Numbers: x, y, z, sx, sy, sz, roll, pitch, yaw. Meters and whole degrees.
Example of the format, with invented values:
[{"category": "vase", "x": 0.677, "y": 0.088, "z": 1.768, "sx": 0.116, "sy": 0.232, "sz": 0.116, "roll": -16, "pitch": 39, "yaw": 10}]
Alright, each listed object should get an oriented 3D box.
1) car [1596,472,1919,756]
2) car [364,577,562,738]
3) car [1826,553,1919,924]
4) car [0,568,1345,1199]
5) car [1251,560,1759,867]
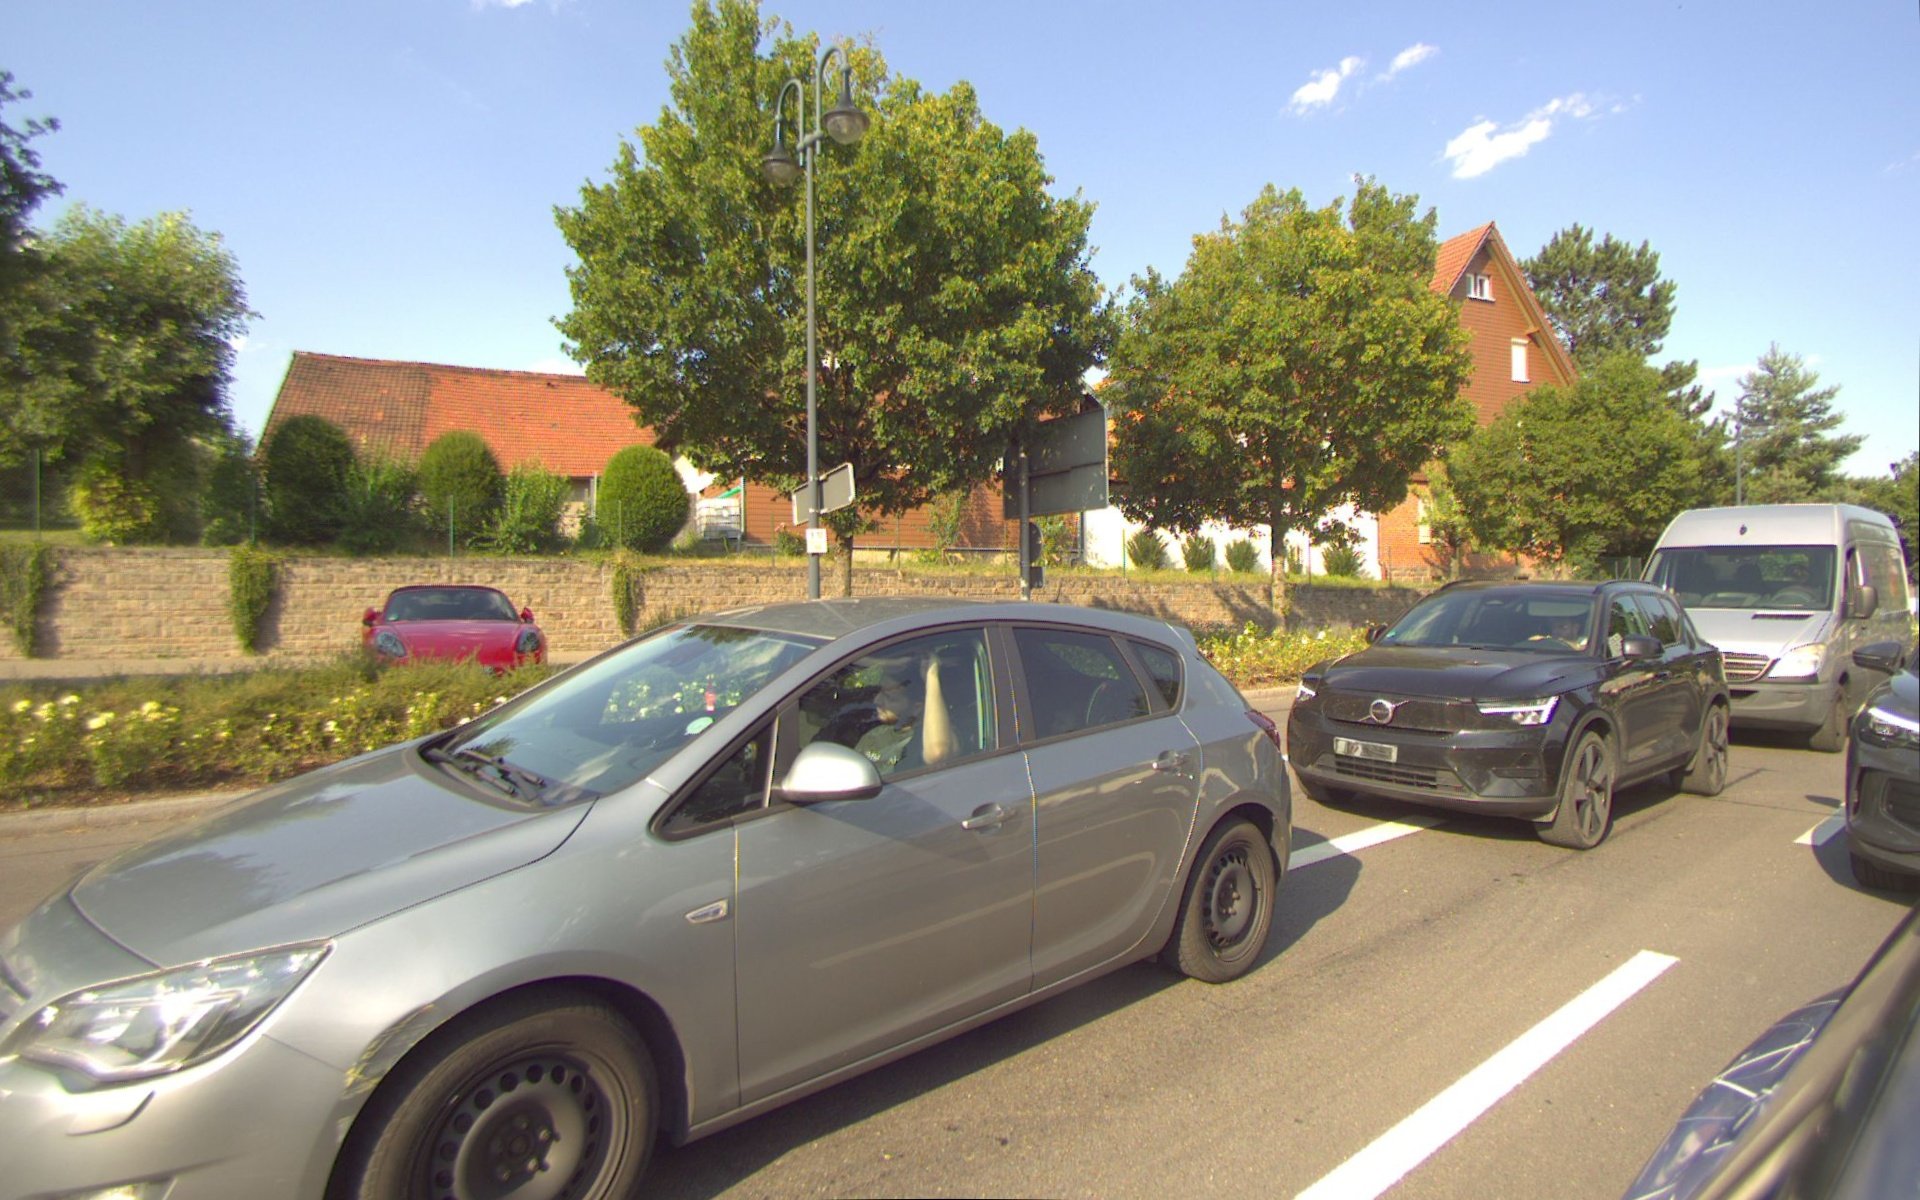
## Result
[{"category": "car", "x": 9.722, "y": 0.089, "z": 11.947, "sx": 5.938, "sy": 2.601, "sz": 1.992, "roll": 0, "pitch": 1, "yaw": -40}, {"category": "car", "x": -5.884, "y": 0.527, "z": 11.707, "sx": 1.743, "sy": 1.510, "sz": 4.156, "roll": 0, "pitch": 0, "yaw": -31}, {"category": "car", "x": 6.226, "y": 0.620, "z": 5.330, "sx": 4.242, "sy": 1.629, "sz": 1.844, "roll": 0, "pitch": 2, "yaw": -40}, {"category": "car", "x": -0.547, "y": 0.667, "z": 3.515, "sx": 4.244, "sy": 1.471, "sz": 1.765, "roll": 0, "pitch": 2, "yaw": -42}, {"category": "car", "x": 4.173, "y": 0.569, "z": 7.445, "sx": 4.242, "sy": 1.629, "sz": 1.844, "roll": 0, "pitch": 2, "yaw": -40}]
